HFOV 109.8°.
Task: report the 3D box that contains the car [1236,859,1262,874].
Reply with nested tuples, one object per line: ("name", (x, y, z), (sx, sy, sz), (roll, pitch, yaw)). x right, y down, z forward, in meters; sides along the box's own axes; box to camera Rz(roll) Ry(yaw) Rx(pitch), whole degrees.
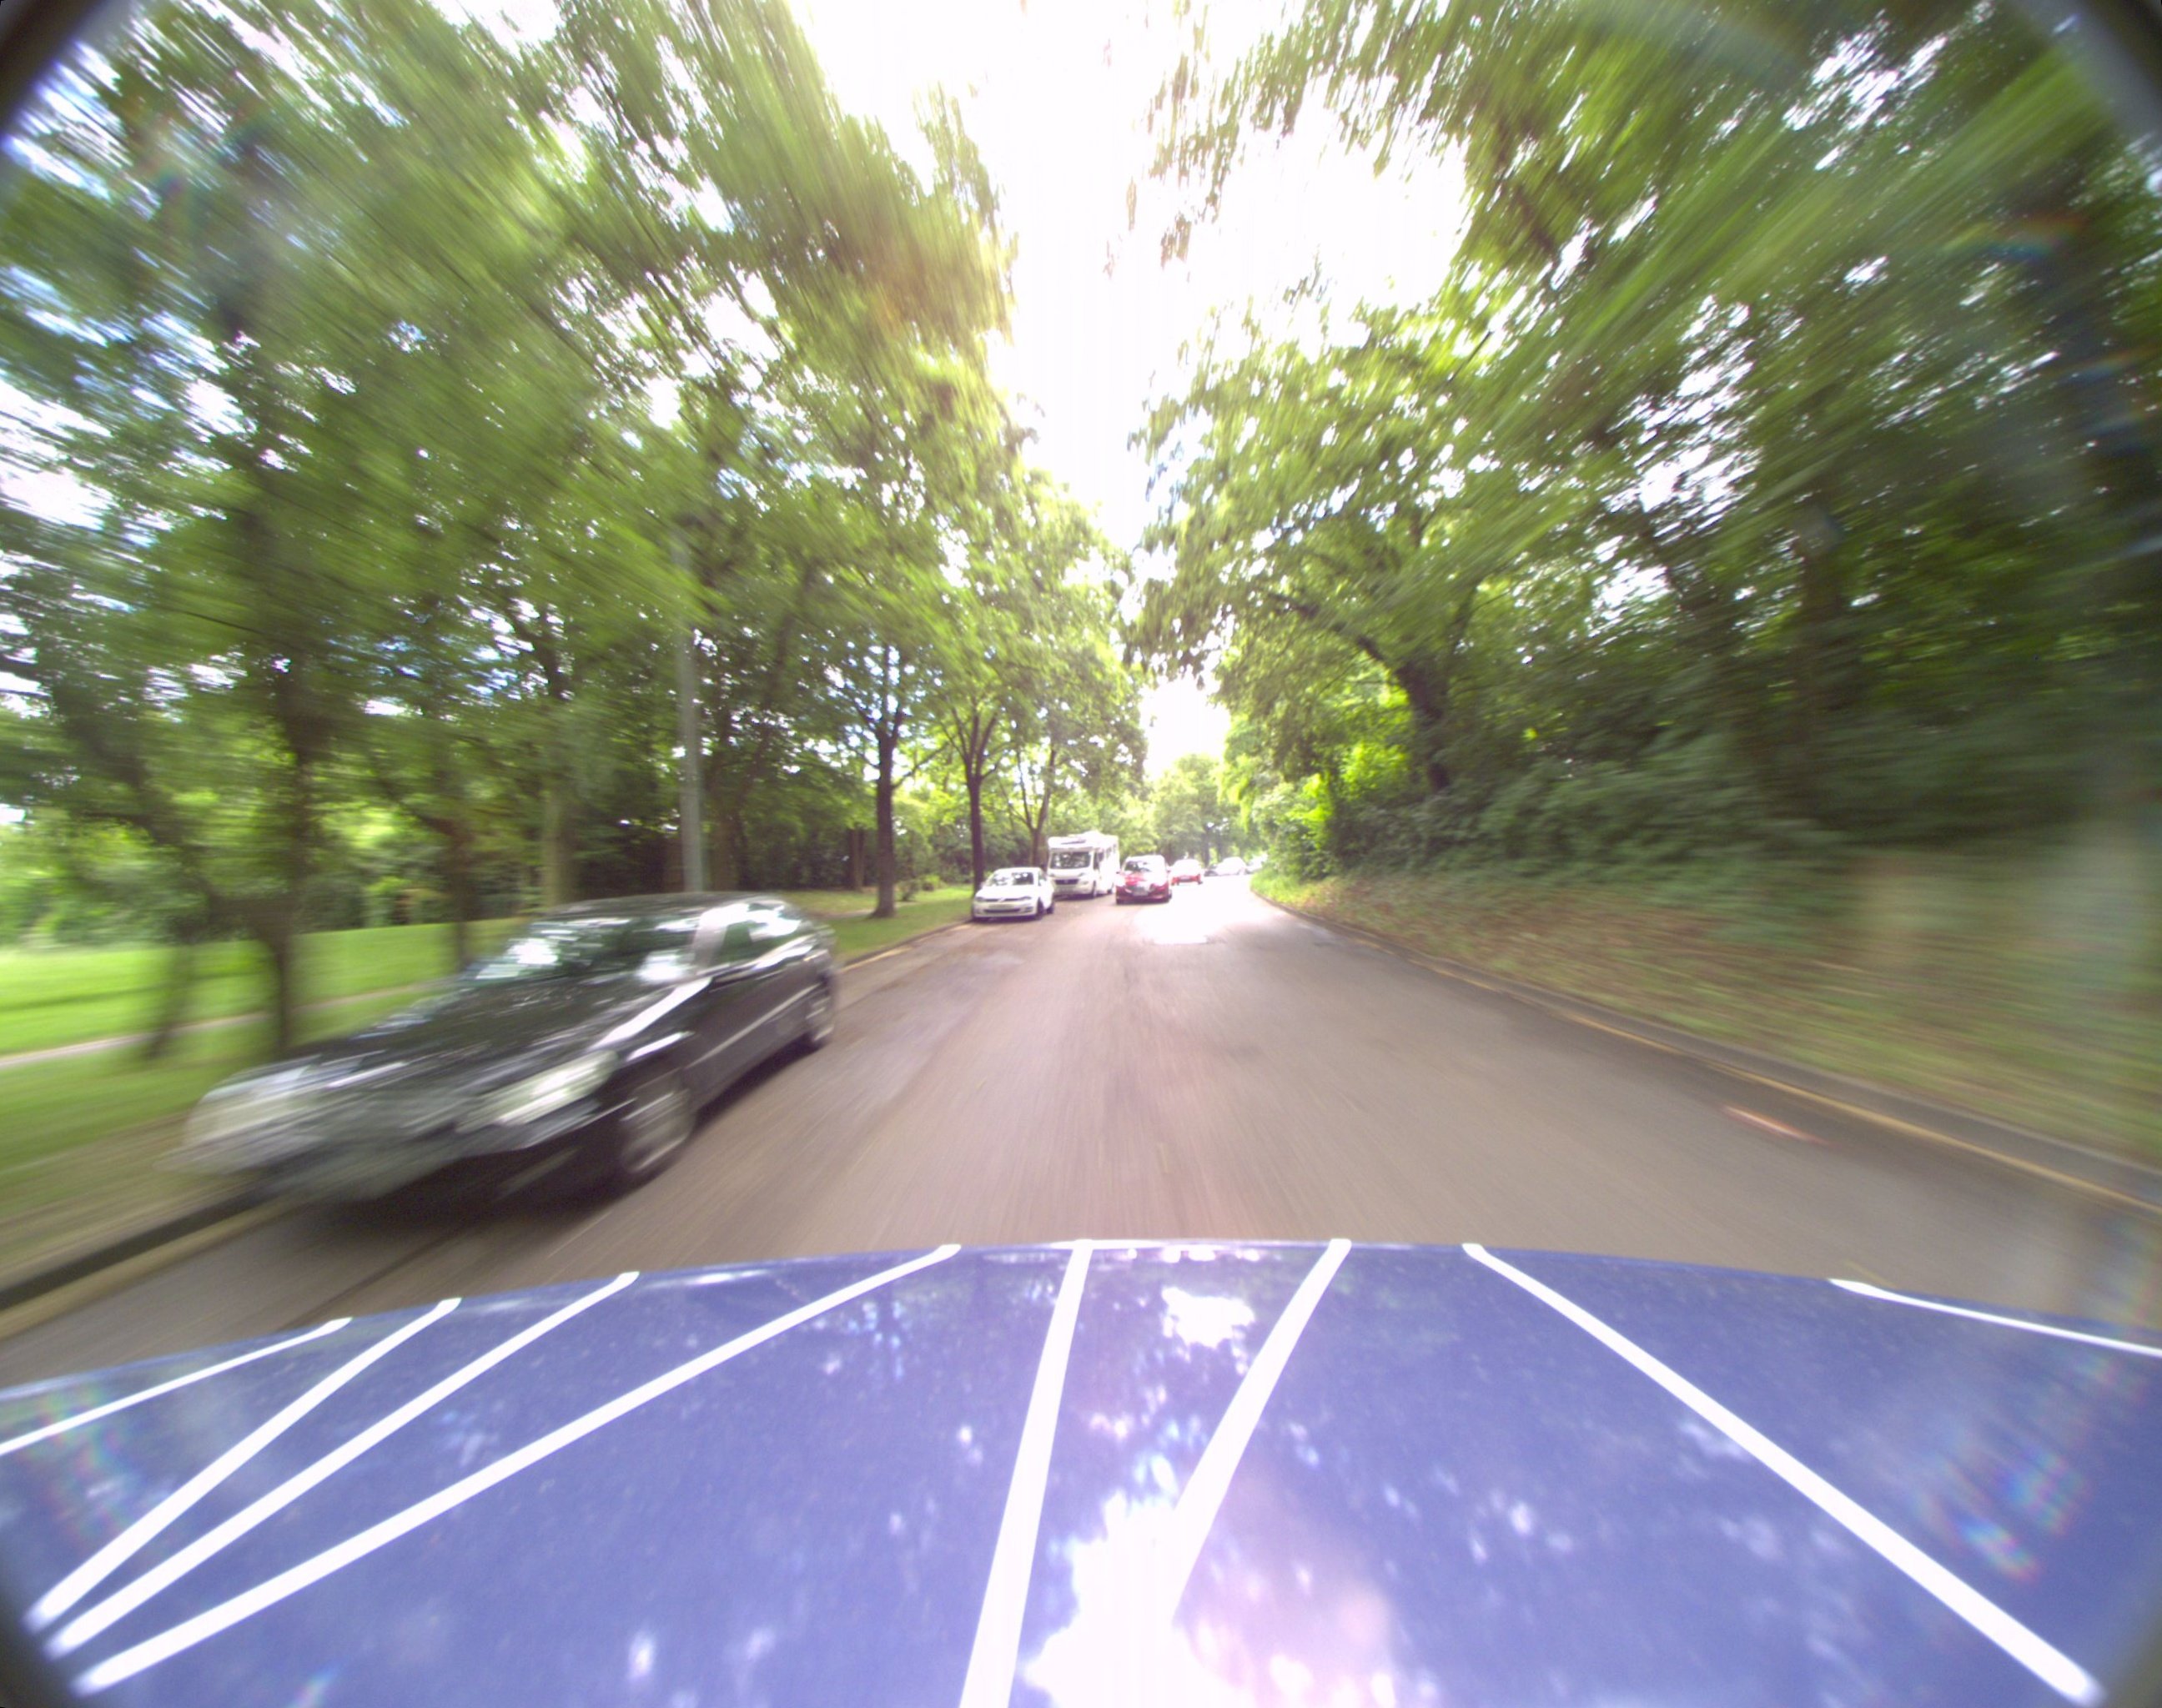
("car", (18.550, 1.319, 83.702), (1.712, 1.413, 4.685), (-3, -1, 26))

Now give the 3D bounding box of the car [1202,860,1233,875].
("car", (13.382, 1.325, 74.309), (1.712, 1.248, 4.685), (-3, -1, 26))

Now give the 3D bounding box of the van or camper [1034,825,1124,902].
("van or camper", (0.097, 0.397, 34.469), (2.428, 2.962, 7.400), (-3, -1, 12))

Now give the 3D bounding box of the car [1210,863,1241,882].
("car", (12.729, 1.635, 67.263), (1.655, 1.558, 4.045), (-3, -1, -4))

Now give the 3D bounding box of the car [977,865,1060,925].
("car", (-1.756, 1.137, 22.513), (1.692, 1.473, 4.108), (-3, -1, 5))

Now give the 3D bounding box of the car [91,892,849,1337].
("car", (-2.968, 1.086, 5.044), (1.593, 1.457, 4.316), (-3, -1, -2))

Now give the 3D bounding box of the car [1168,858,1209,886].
("car", (6.506, 1.034, 45.713), (1.956, 1.464, 4.682), (-3, -1, 13))

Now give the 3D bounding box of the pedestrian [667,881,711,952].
("pedestrian", (-9.571, 1.503, 18.579), (0.582, 1.642, 0.872), (-3, 0, -4))

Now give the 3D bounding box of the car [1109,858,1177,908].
("car", (2.411, 0.996, 28.235), (2.002, 1.599, 4.681), (-3, -1, 10))
